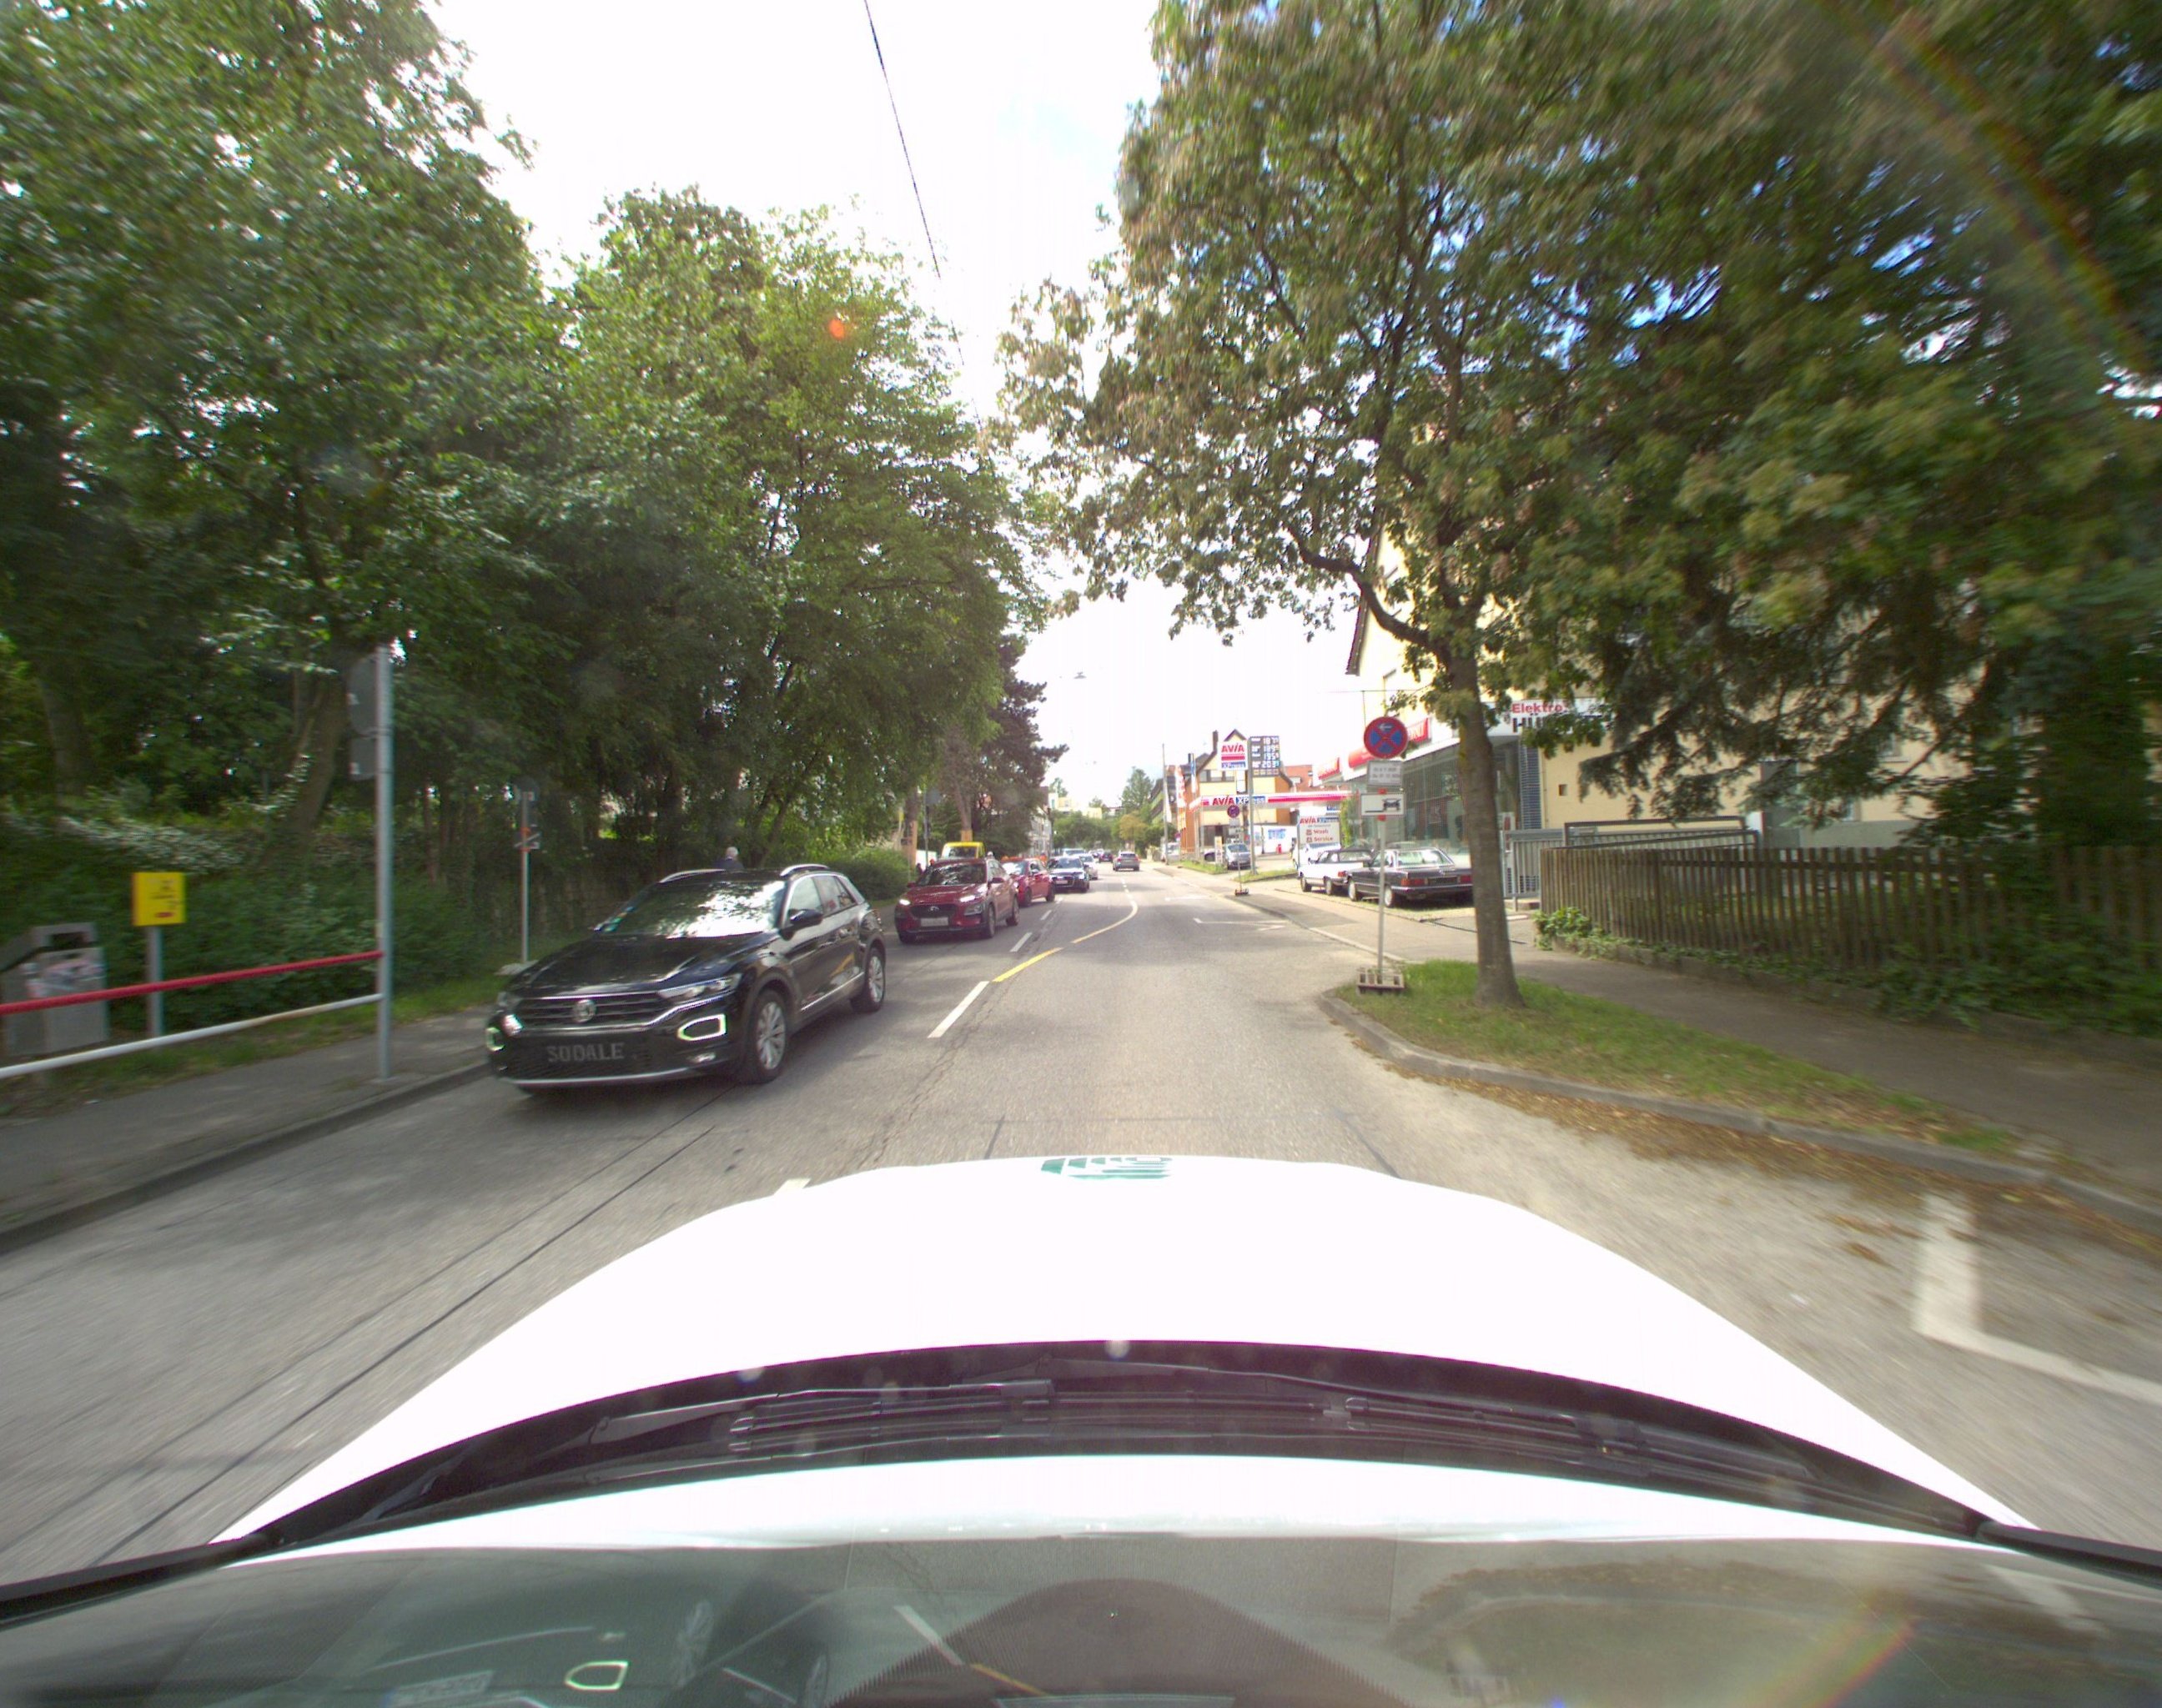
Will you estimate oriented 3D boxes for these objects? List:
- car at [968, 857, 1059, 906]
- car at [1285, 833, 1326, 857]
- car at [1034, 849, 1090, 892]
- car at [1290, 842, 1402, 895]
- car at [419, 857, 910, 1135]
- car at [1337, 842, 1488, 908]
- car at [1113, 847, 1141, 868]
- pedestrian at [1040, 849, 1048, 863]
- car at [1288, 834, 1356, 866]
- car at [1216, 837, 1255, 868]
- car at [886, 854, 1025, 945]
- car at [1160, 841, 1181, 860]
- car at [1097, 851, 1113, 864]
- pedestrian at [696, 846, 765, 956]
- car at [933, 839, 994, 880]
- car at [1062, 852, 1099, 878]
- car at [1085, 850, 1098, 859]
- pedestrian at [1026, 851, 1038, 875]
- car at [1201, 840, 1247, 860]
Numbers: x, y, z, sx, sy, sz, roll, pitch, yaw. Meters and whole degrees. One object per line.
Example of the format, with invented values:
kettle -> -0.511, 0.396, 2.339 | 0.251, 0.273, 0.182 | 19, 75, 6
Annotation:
car -> -2.047, 0.822, 25.697 | 1.678, 1.425, 3.452 | -2, -1, 16
car -> 17.079, -0.655, 62.096 | 1.780, 1.634, 3.688 | -5, 0, -3
car -> -0.704, 0.650, 33.184 | 1.921, 1.578, 4.299 | -2, -1, 3
car -> 7.650, 0.382, 23.992 | 1.718, 1.364, 4.482 | -2, 0, -1
car -> -2.975, 0.874, 7.049 | 1.781, 1.542, 4.267 | -3, 0, 3
car -> 7.511, 0.416, 18.940 | 1.719, 1.316, 4.265 | -1, 0, -1
car -> 3.512, 0.282, 63.064 | 1.969, 1.513, 4.267 | 1, 0, 0
pedestrian -> -3.970, 0.191, 87.260 | 0.701, 1.439, 0.715 | -2, -1, 5
car -> 11.197, -0.178, 38.142 | 1.837, 1.355, 4.065 | -2, 0, -3
car -> 9.125, -0.092, 48.337 | 1.776, 1.634, 3.697 | -5, 0, 5
car -> -2.432, 0.831, 16.873 | 1.753, 1.533, 4.103 | -3, 0, 6
car -> 9.565, -0.349, 87.441 | 1.985, 2.014, 4.003 | -2, -1, 3
car -> 2.938, 0.387, 99.342 | 1.810, 1.501, 4.266 | -1, 0, 0
pedestrian -> -5.893, 0.772, 13.750 | 0.712, 1.762, 1.120 | -1, -1, -4
car -> -6.040, 0.293, 42.495 | 2.136, 1.981, 4.936 | -2, -1, 4
car -> 0.017, 0.632, 46.616 | 1.952, 1.394, 4.296 | -2, -1, 1
car -> 1.888, 0.135, 146.144 | 2.101, 1.501, 4.271 | -2, 0, 4
pedestrian -> -3.044, 0.562, 50.459 | 0.703, 1.439, 0.713 | -2, -1, -2
car -> 12.809, -0.342, 73.002 | 3.961, 1.684, 1.796 | -2, -1, 10
